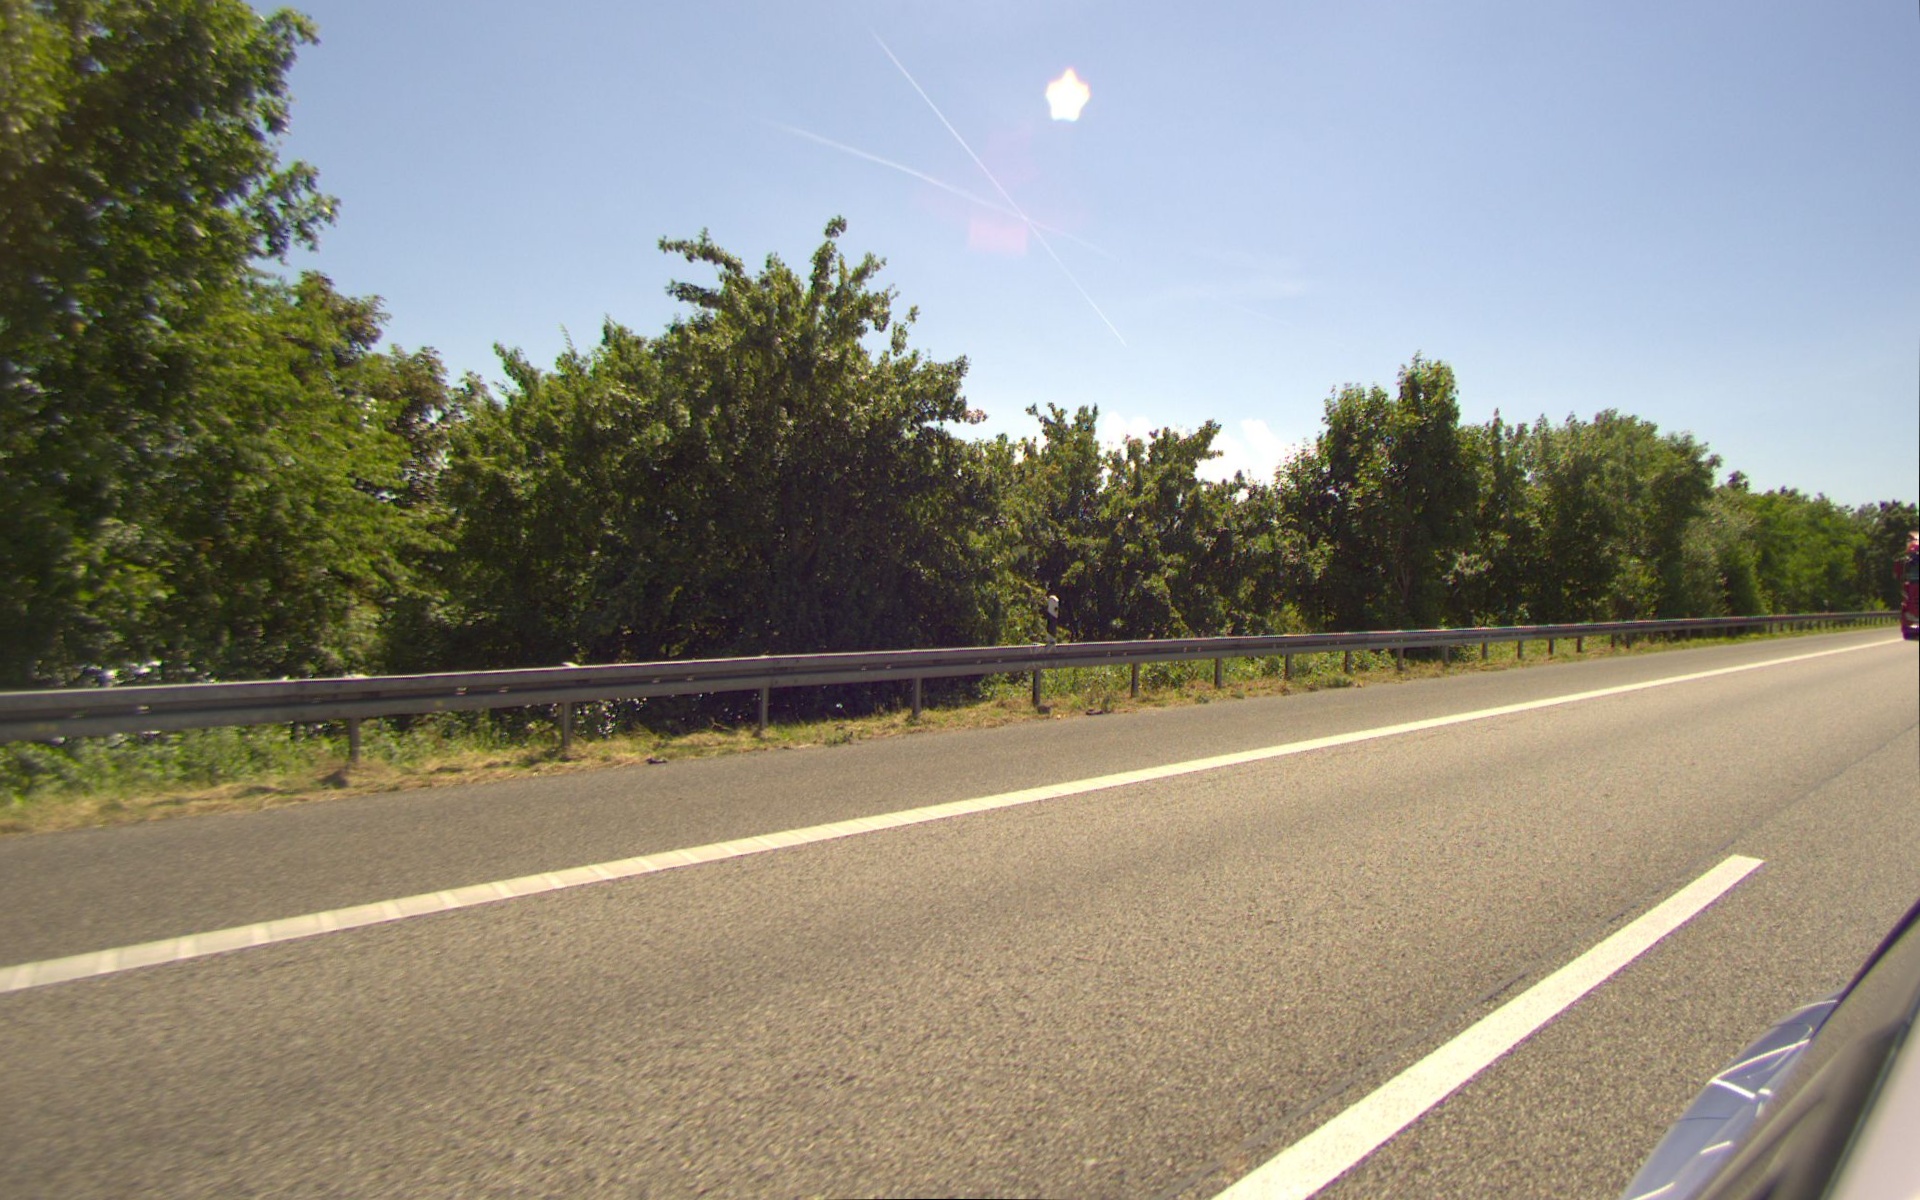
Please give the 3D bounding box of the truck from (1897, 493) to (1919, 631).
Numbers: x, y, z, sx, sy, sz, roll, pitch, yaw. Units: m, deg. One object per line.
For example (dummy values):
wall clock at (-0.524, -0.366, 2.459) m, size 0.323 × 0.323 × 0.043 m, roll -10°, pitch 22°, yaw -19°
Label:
truck at (37.834, -1.315, 37.865) m, size 6.847 × 4.951 × 3.241 m, roll 1°, pitch 0°, yaw -40°

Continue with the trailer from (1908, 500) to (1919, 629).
trailer at (42.673, -1.261, 41.968) m, size 13.778 × 4.899 × 3.276 m, roll 1°, pitch 0°, yaw -40°
